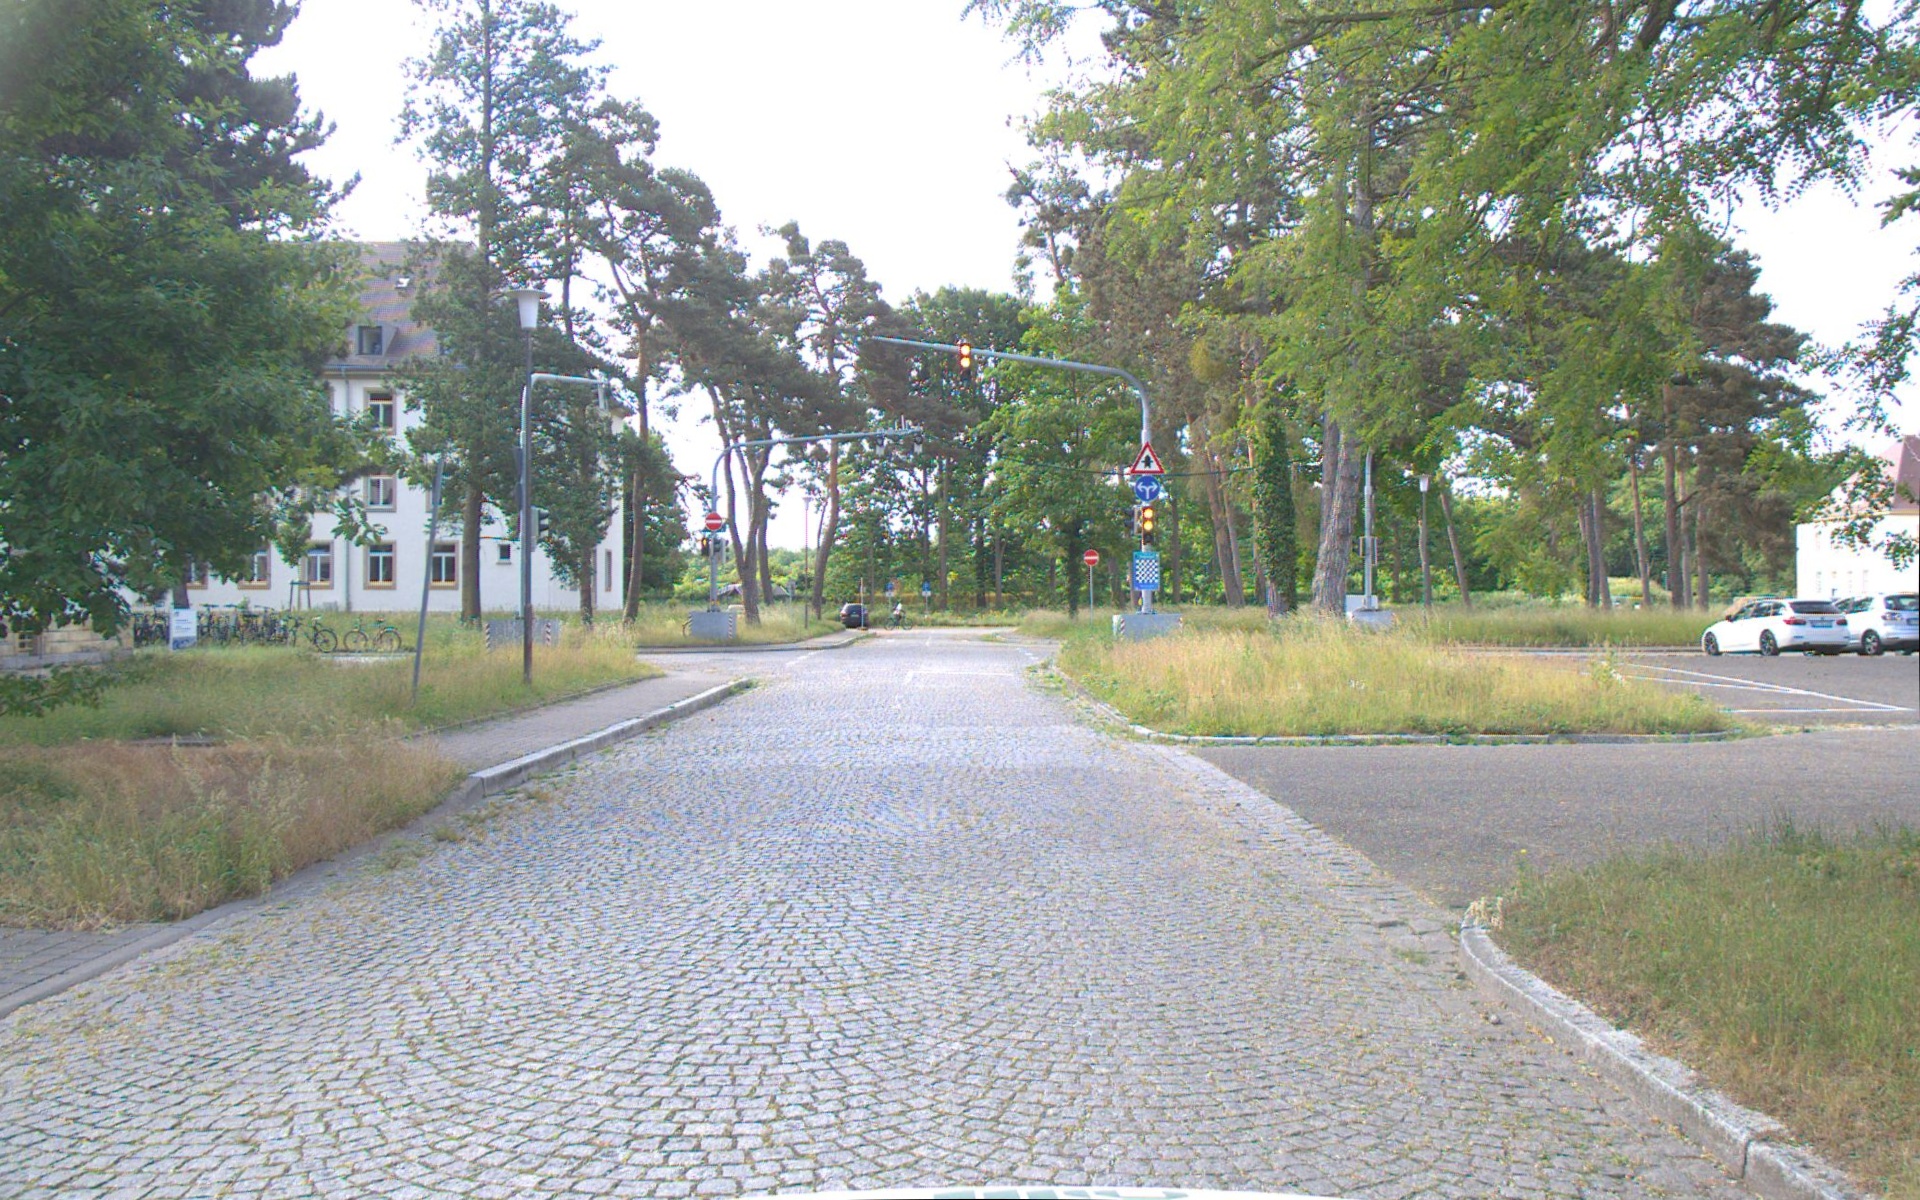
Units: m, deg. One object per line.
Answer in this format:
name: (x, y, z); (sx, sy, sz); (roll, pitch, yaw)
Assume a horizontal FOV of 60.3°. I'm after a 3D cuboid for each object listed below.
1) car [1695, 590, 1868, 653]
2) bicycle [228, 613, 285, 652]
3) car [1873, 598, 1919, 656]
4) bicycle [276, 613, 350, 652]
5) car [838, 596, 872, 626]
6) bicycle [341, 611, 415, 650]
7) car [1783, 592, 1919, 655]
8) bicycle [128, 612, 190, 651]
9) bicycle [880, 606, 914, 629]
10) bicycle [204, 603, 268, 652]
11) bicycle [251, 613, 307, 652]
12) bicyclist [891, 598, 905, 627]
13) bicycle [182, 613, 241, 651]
car: (20.787, 0.572, 42.093); (1.954, 1.507, 4.421); (0, -2, -4)
bicycle: (-20.728, 0.948, 48.777); (0.721, 1.095, 2.273); (0, 0, 0)
car: (25.864, 0.691, 42.645); (1.954, 1.507, 4.421); (0, -2, -4)
bicycle: (-18.625, 0.925, 47.639); (1.818, 1.095, 0.738); (0, 0, 1)
car: (-6.638, 0.702, 105.197); (2.014, 1.878, 3.999); (0, 0, -2)
bicycle: (-16.774, 0.884, 47.707); (1.818, 1.095, 0.831); (0, 0, 1)
car: (23.252, 0.629, 42.311); (1.954, 1.507, 4.421); (0, -2, -4)
bicycle: (-23.597, 0.907, 48.776); (0.721, 1.095, 2.273); (0, 0, 0)
bicycle: (-3.727, 1.042, 98.453); (1.934, 1.343, 0.517); (1, -1, -12)
bicycle: (-21.463, 0.800, 49.121); (0.721, 1.410, 2.711); (0, 0, 0)
bicycle: (-20.100, 0.940, 48.867); (0.721, 1.095, 2.273); (0, 0, 0)
bicyclist: (-3.709, 0.734, 98.453); (0.735, 1.700, 0.525); (1, -1, -11)
bicycle: (-22.250, 0.935, 49.218); (0.721, 1.095, 2.273); (0, 0, 0)
